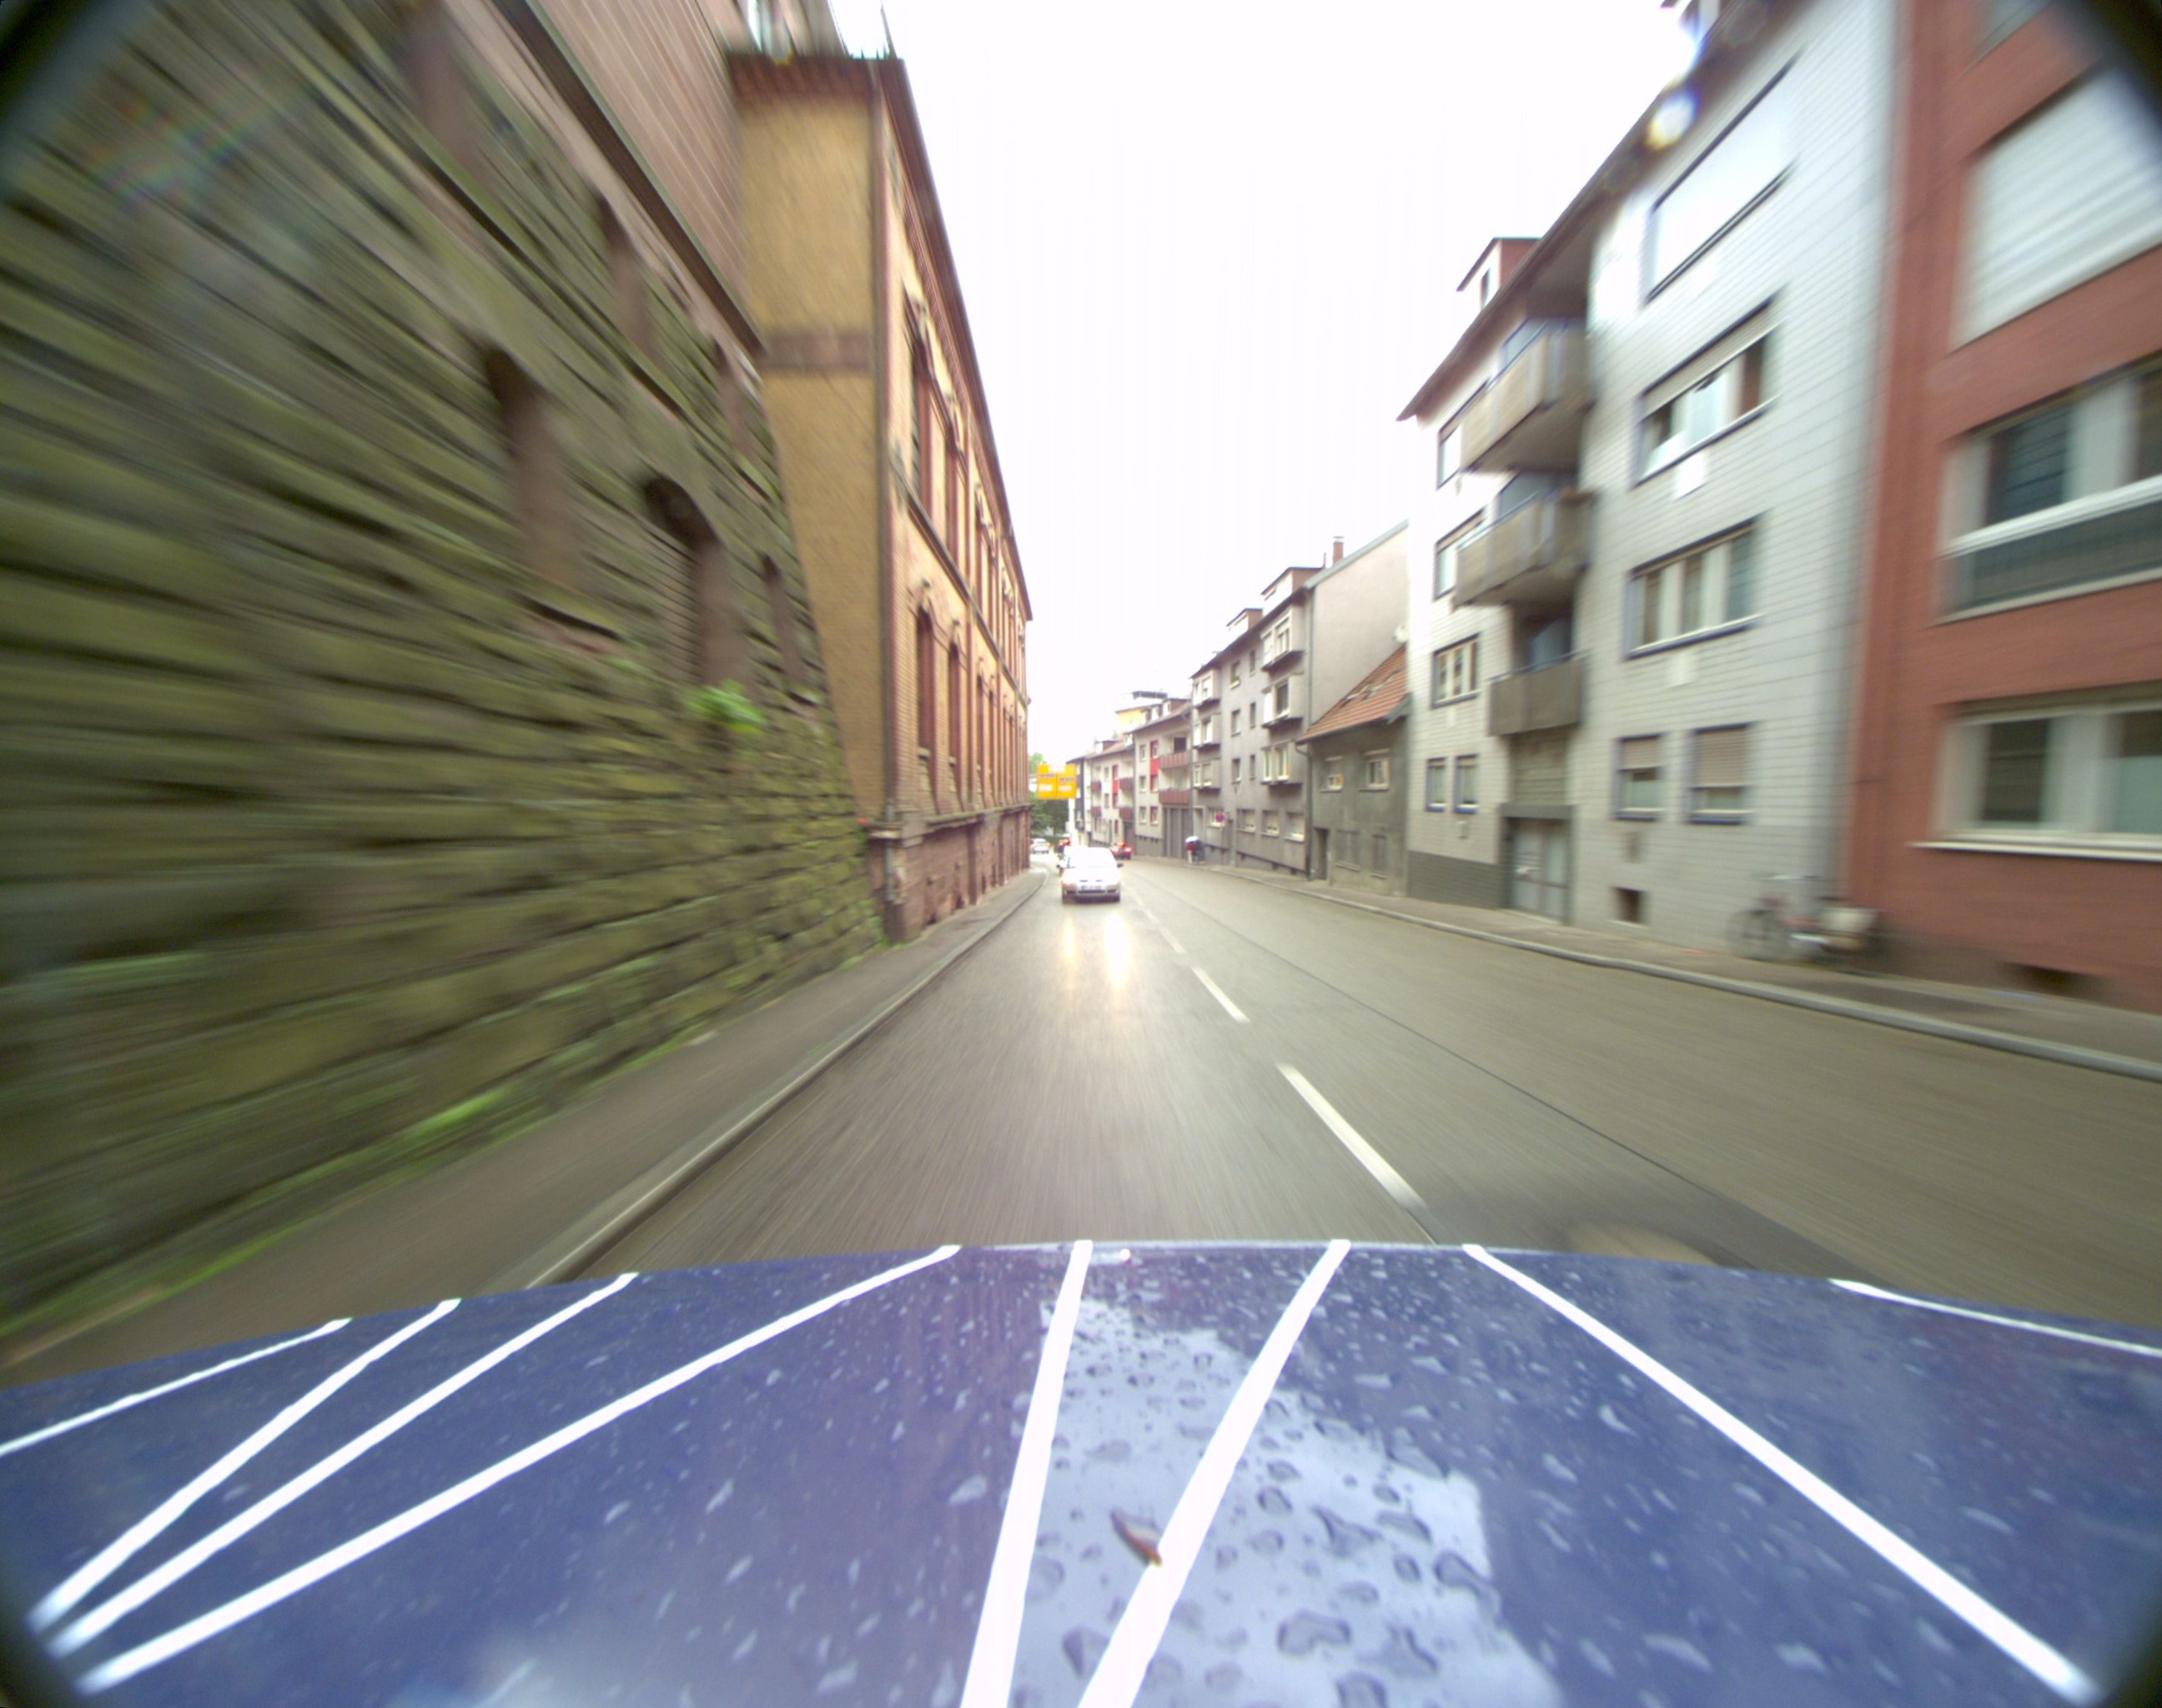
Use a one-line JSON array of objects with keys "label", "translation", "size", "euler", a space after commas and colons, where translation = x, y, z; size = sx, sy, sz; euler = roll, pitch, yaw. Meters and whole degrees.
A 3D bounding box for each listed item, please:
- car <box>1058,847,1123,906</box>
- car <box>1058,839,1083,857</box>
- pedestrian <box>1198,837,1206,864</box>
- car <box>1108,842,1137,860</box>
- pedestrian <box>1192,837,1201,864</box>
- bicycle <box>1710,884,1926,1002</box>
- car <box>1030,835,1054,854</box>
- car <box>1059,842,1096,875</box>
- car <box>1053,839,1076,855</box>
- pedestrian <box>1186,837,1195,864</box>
[{"label": "car", "translation": [0.276, 0.591, 22.919], "size": [1.720, 1.527, 3.999], "euler": [-2, 1, 0]}, {"label": "car", "translation": [-0.955, -0.523, 67.910], "size": [1.721, 1.527, 3.996], "euler": [-2, 1, -8]}, {"label": "pedestrian", "translation": [7.974, -0.248, 50.027], "size": [0.355, 1.770, 0.499], "euler": [-2, 2, -9]}, {"label": "car", "translation": [3.402, -0.267, 62.579], "size": [1.714, 1.316, 3.368], "euler": [-2, 1, -8]}, {"label": "pedestrian", "translation": [7.592, -0.233, 49.977], "size": [0.381, 1.770, 0.499], "euler": [-2, 2, -9]}, {"label": "bicycle", "translation": [8.570, 0.972, 8.984], "size": [0.572, 1.110, 2.039], "euler": [-3, 1, 1]}, {"label": "car", "translation": [-4.474, -1.052, 86.454], "size": [2.000, 2.002, 3.995], "euler": [-2, 1, -12]}, {"label": "car", "translation": [-0.212, 0.189, 38.891], "size": [1.720, 1.527, 3.998], "euler": [-2, 1, -1]}, {"label": "car", "translation": [-1.944, -0.772, 87.324], "size": [1.835, 1.694, 4.072], "euler": [-2, 1, -11]}, {"label": "pedestrian", "translation": [7.204, -0.217, 49.924], "size": [0.387, 1.770, 0.499], "euler": [-2, 2, -9]}]
